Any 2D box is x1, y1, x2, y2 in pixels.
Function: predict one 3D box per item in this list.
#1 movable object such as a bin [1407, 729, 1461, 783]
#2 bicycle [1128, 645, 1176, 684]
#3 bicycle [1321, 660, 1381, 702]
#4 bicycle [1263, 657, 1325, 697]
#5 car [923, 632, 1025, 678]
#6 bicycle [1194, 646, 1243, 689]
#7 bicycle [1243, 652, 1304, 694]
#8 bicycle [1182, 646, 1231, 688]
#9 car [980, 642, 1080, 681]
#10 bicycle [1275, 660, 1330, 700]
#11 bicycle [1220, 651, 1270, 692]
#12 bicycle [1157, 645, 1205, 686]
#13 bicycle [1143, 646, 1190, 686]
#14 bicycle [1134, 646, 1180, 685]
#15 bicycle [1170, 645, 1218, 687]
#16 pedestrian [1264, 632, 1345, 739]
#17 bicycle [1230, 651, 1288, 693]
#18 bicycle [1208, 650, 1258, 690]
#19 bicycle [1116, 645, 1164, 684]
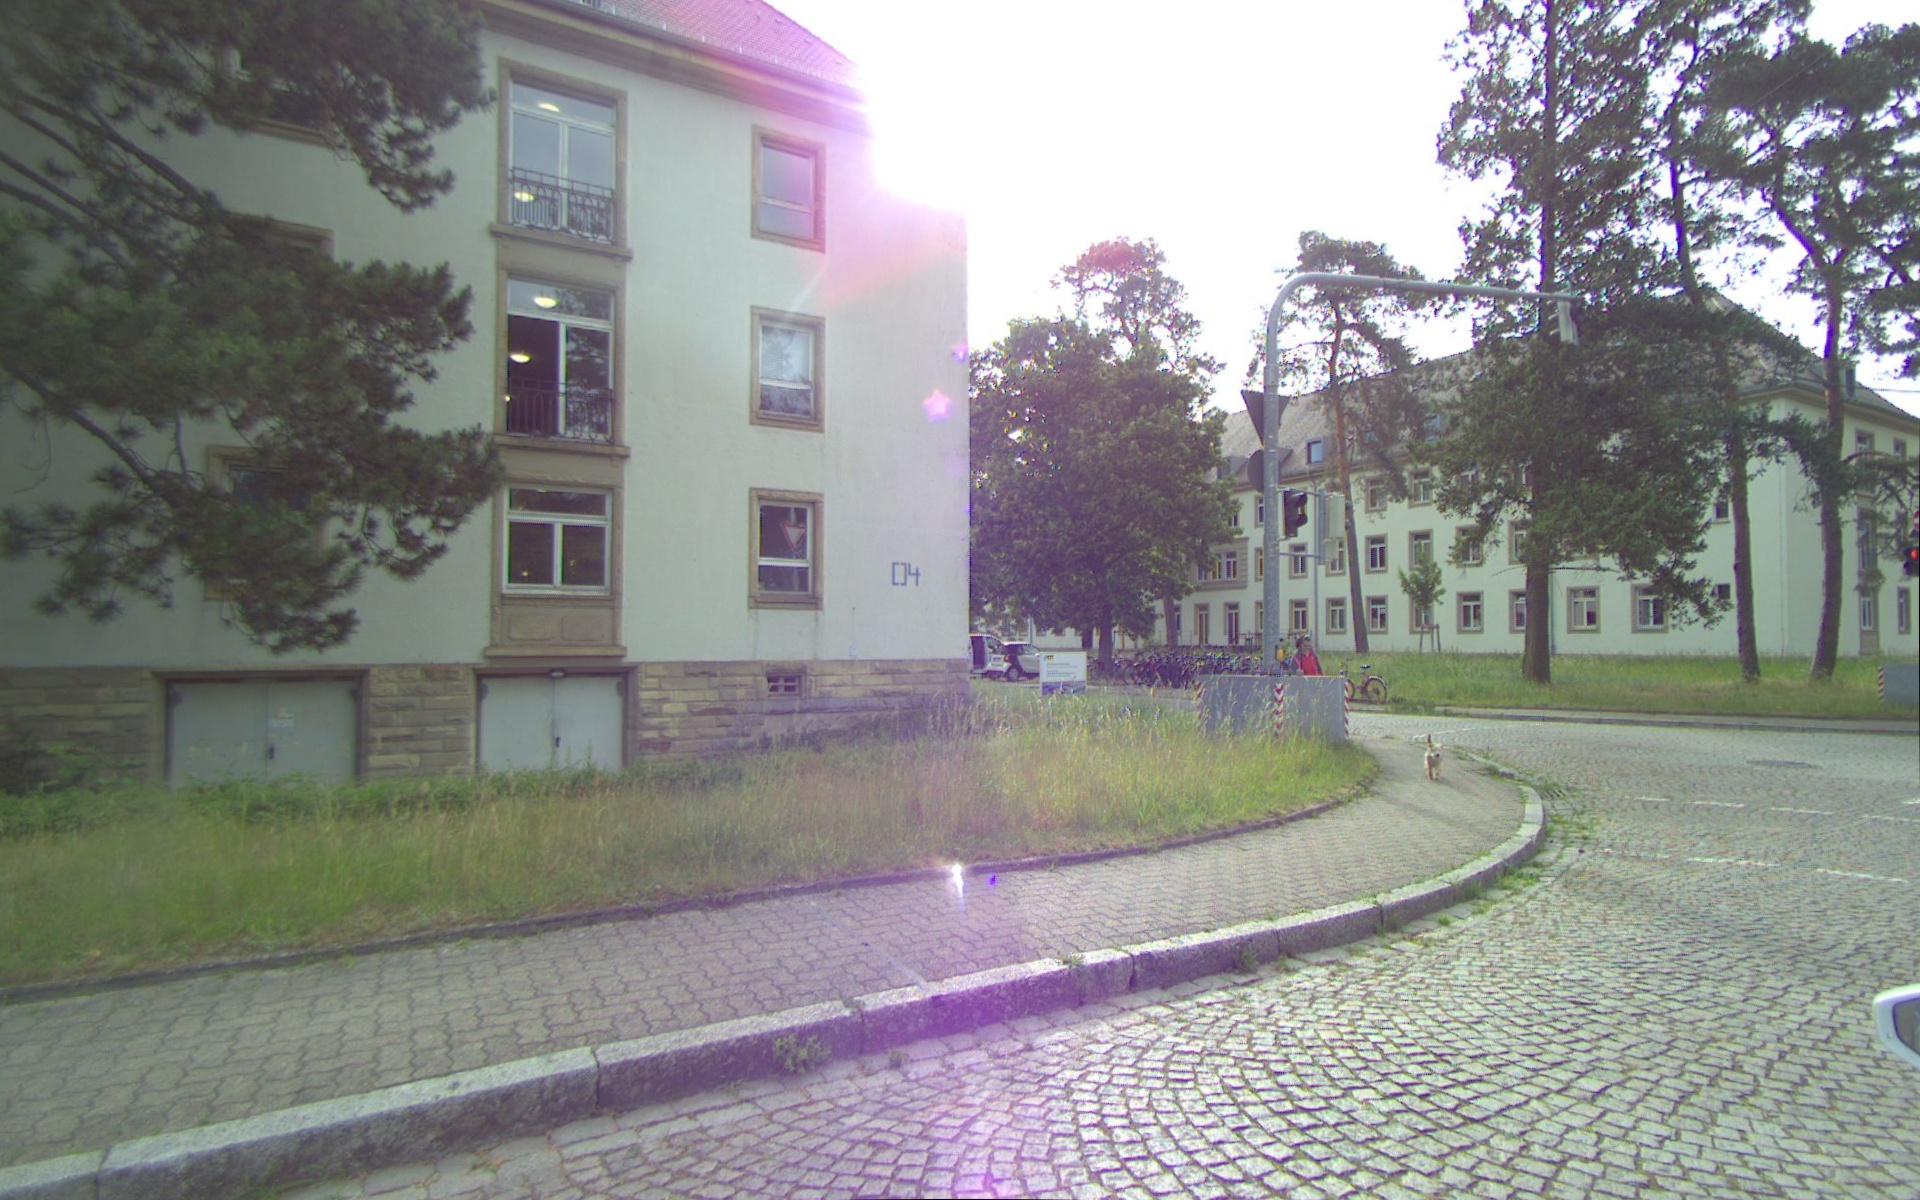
[{"bbox_3d":[5.307,1.732,11.240,0.437,0.510,0.750,-2,-3,33],"label":"movable object such as a bin"},{"bbox_3d":[6.527,2.187,34.114,1.765,1.300,0.440,2,-3,-32],"label":"bicycle"},{"bbox_3d":[9.850,2.023,25.331,0.447,1.009,1.453,1,-3,-28],"label":"bicycle"},{"bbox_3d":[9.558,2.174,28.721,1.974,1.092,0.572,2,-3,-32],"label":"bicycle"},{"bbox_3d":[0.630,2.372,43.701,4.087,1.932,1.831,1,-3,-30],"label":"car"},{"bbox_3d":[8.066,2.091,31.309,1.676,1.300,0.447,2,-3,-32],"label":"bicycle"},{"bbox_3d":[9.150,2.114,29.286,1.932,1.193,0.572,2,-3,-32],"label":"bicycle"},{"bbox_3d":[7.782,2.096,31.725,1.676,1.300,0.447,2,-3,-32],"label":"bicycle"},{"bbox_3d":[2.916,2.523,41.763,3.851,1.576,1.831,1,-3,-30],"label":"car"},{"bbox_3d":[9.078,2.111,26.643,0.447,1.009,1.453,1,-3,-28],"label":"bicycle"},{"bbox_3d":[8.585,2.140,30.223,1.676,1.193,0.447,2,-3,-32],"label":"bicycle"},{"bbox_3d":[7.193,2.108,32.626,1.676,1.300,0.447,2,-3,-32],"label":"bicycle"},{"bbox_3d":[6.842,2.169,33.188,1.676,1.300,0.447,2,-3,-32],"label":"bicycle"},{"bbox_3d":[6.592,2.175,33.605,1.676,1.300,0.447,2,-3,-32],"label":"bicycle"},{"bbox_3d":[7.491,2.102,32.150,1.676,1.300,0.447,2,-3,-32],"label":"bicycle"},{"bbox_3d":[5.649,1.383,16.507,0.925,1.690,0.859,1,-2,-17],"label":"pedestrian"},{"bbox_3d":[8.886,2.122,29.808,1.909,1.193,0.525,2,-3,-32],"label":"bicycle"},{"bbox_3d":[8.328,2.132,30.634,1.676,1.193,0.447,2,-3,-32],"label":"bicycle"},{"bbox_3d":[6.186,2.190,34.448,1.807,1.300,0.447,2,-3,-32],"label":"bicycle"}]
